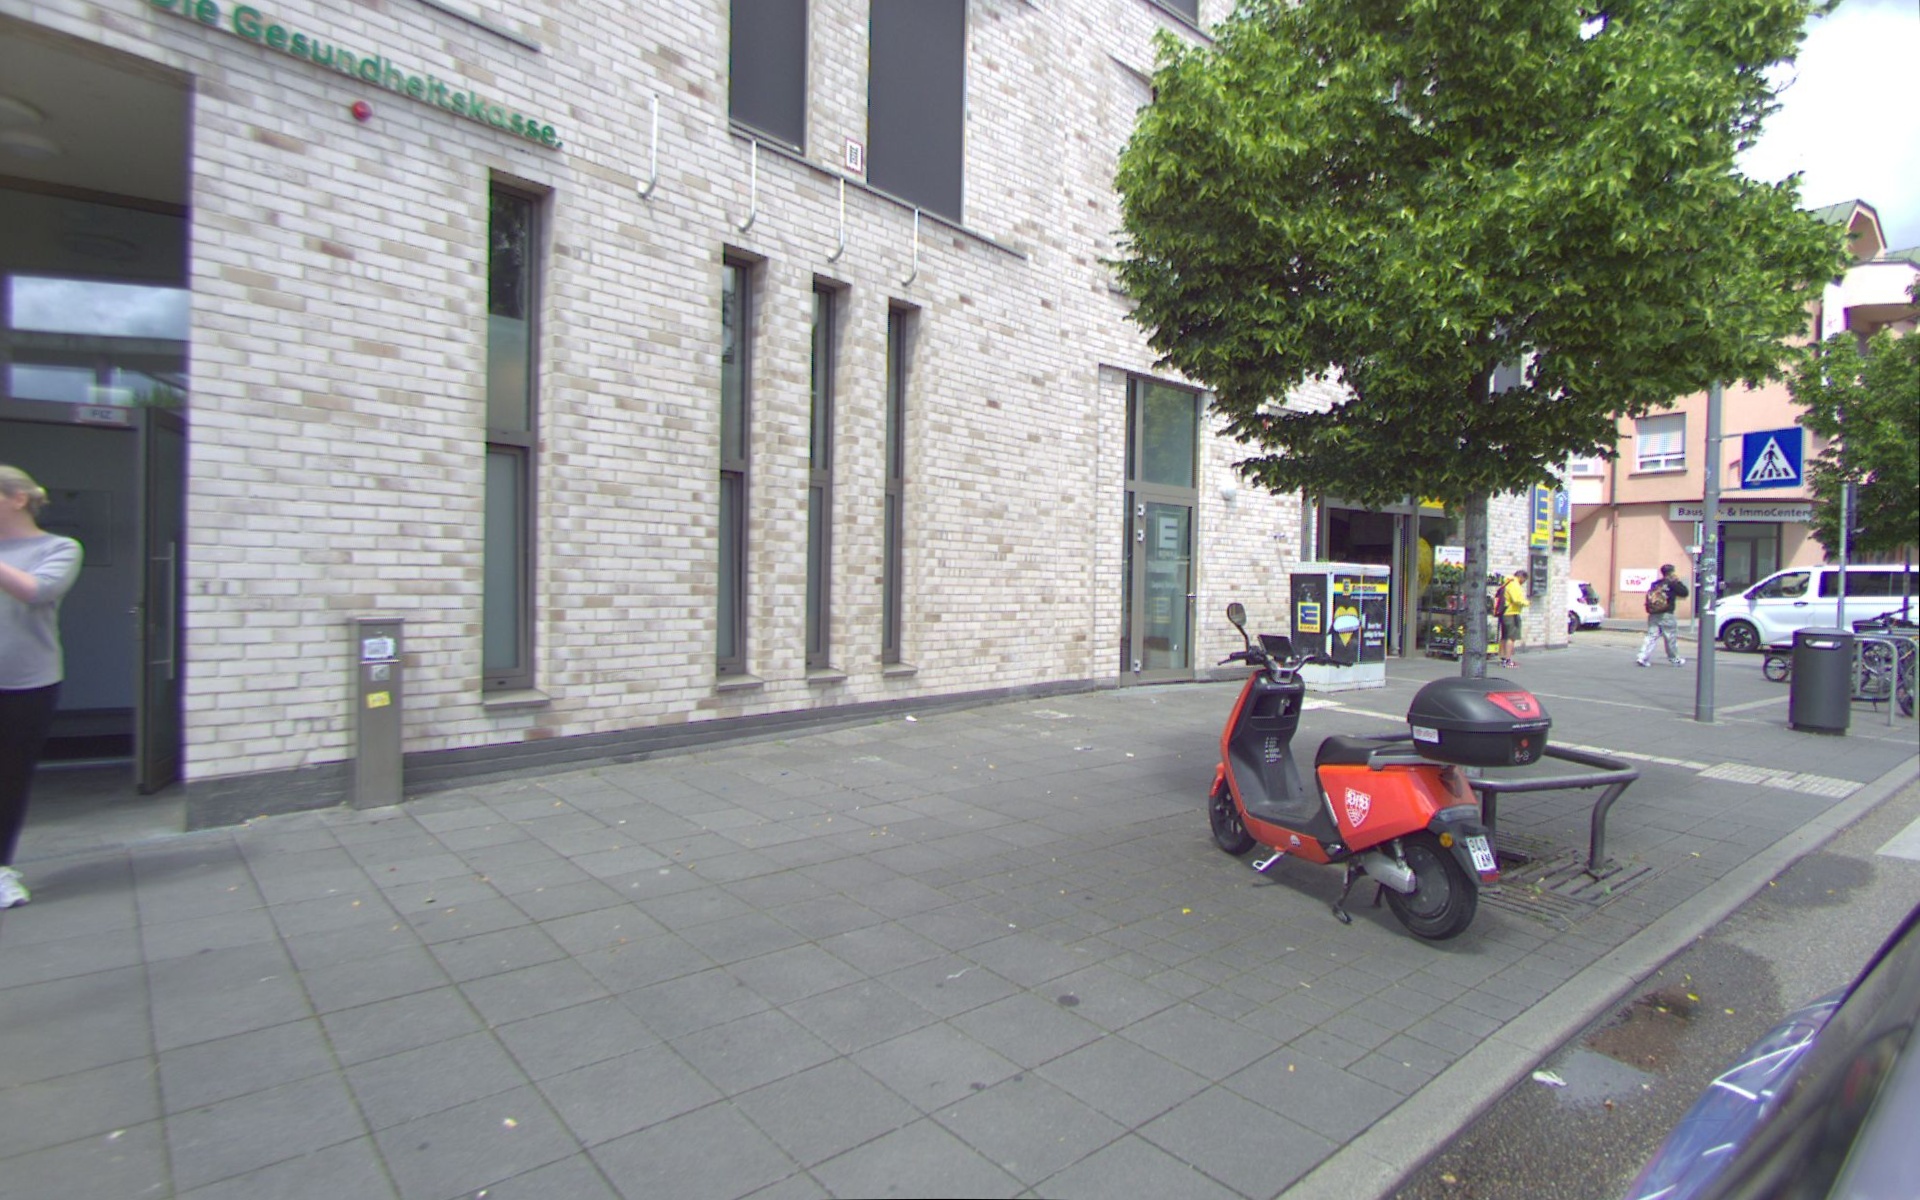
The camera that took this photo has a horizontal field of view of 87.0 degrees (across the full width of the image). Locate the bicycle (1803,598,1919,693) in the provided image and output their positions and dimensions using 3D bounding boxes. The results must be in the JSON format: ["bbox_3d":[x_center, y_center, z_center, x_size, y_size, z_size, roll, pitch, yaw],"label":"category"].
[{"bbox_3d":[12.414,0.595,13.348,0.742,1.145,1.829,-1,3,-35],"label":"bicycle"}]

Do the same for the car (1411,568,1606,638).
[{"bbox_3d":[13.726,0.017,25.519,1.750,1.495,3.908,0,3,-36],"label":"car"}]

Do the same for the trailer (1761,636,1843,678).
[{"bbox_3d":[12.556,0.844,15.098,0.795,0.535,0.722,-1,2,-31],"label":"trailer"}]

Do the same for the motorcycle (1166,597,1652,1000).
[{"bbox_3d":[1.830,0.689,4.582,0.659,1.281,2.062,0,4,-24],"label":"motorcycle"}]

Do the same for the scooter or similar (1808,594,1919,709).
[{"bbox_3d":[10.986,0.590,12.084,0.484,1.265,1.201,0,3,-35],"label":"scooter or similar"}]

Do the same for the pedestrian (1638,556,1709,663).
[{"bbox_3d":[12.179,0.140,17.268,0.999,1.763,0.660,0,2,-36],"label":"pedestrian"}]

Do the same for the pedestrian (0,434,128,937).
[{"bbox_3d":[-3.714,0.296,3.780,0.730,1.788,0.749,2,3,34],"label":"pedestrian"}]

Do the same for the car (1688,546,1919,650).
[{"bbox_3d":[18.995,-0.051,21.551,1.958,2.039,5.403,0,0,-24],"label":"car"}]

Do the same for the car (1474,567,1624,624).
[{"bbox_3d":[17.378,-0.175,29.996,1.684,1.495,3.397,0,3,-30],"label":"car"}]

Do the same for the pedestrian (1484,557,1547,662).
[{"bbox_3d":[9.211,0.144,16.787,0.619,1.713,0.660,1,1,-1],"label":"pedestrian"}]

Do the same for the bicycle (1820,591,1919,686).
[{"bbox_3d":[13.065,0.530,13.838,0.742,1.215,1.829,-1,3,-35],"label":"bicycle"}]
